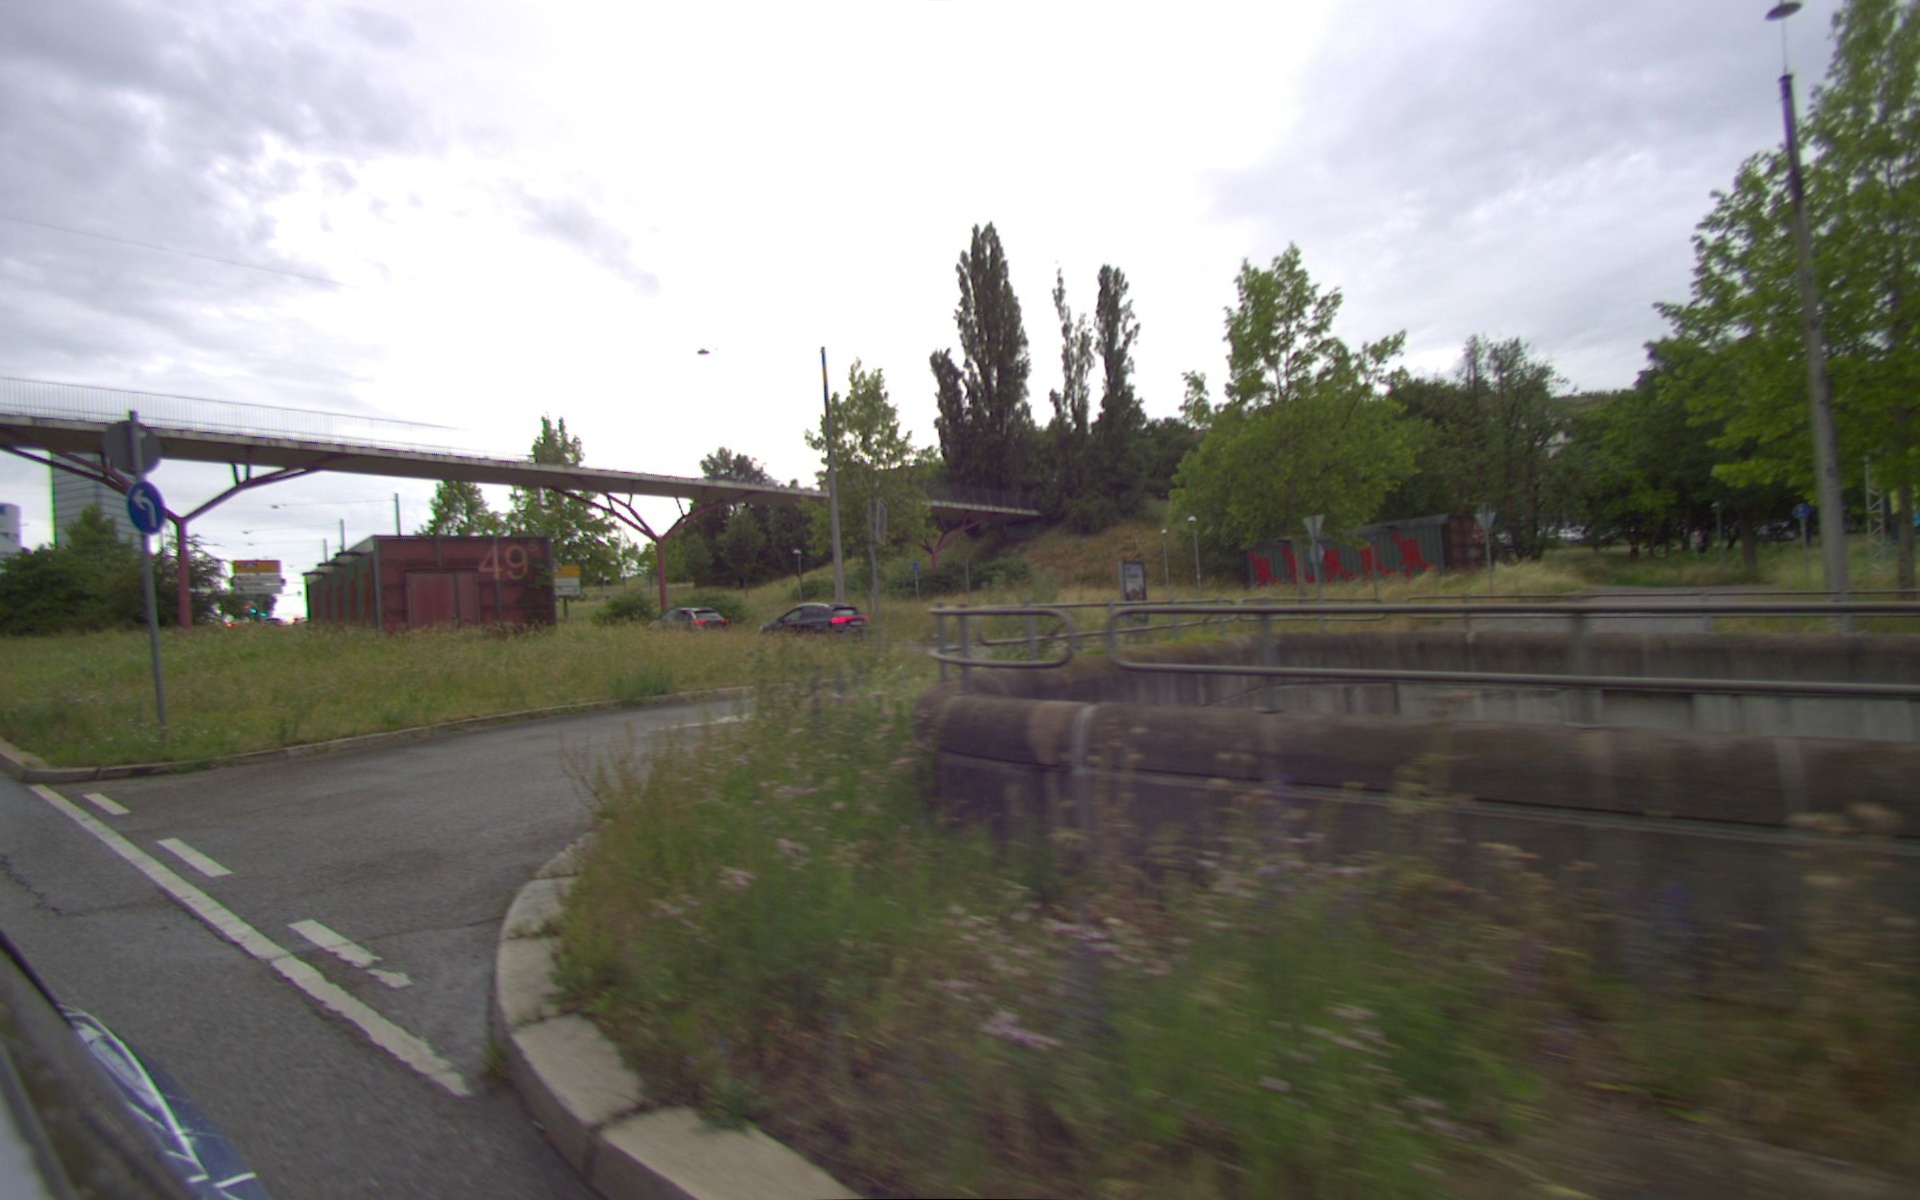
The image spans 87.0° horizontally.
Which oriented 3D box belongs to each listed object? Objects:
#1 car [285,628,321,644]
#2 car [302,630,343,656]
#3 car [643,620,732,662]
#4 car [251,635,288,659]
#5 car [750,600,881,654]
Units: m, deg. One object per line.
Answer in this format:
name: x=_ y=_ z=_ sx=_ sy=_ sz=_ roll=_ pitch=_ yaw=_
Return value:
car: x=-47.992 y=2.610 z=73.880 sx=3.083 sy=0.951 sz=1.254 roll=1 pitch=4 yaw=39
car: x=-54.627 y=3.676 z=86.640 sx=4.001 sy=2.028 sz=1.972 roll=-2 pitch=2 yaw=44
car: x=-11.549 y=1.739 z=42.841 sx=3.786 sy=1.585 sz=1.641 roll=-3 pitch=2 yaw=39
car: x=-63.768 y=4.302 z=93.449 sx=4.001 sy=2.028 sz=1.972 roll=-2 pitch=2 yaw=44
car: x=-4.672 y=0.888 z=32.274 sx=4.434 sy=1.539 sz=1.639 roll=-3 pitch=0 yaw=42
